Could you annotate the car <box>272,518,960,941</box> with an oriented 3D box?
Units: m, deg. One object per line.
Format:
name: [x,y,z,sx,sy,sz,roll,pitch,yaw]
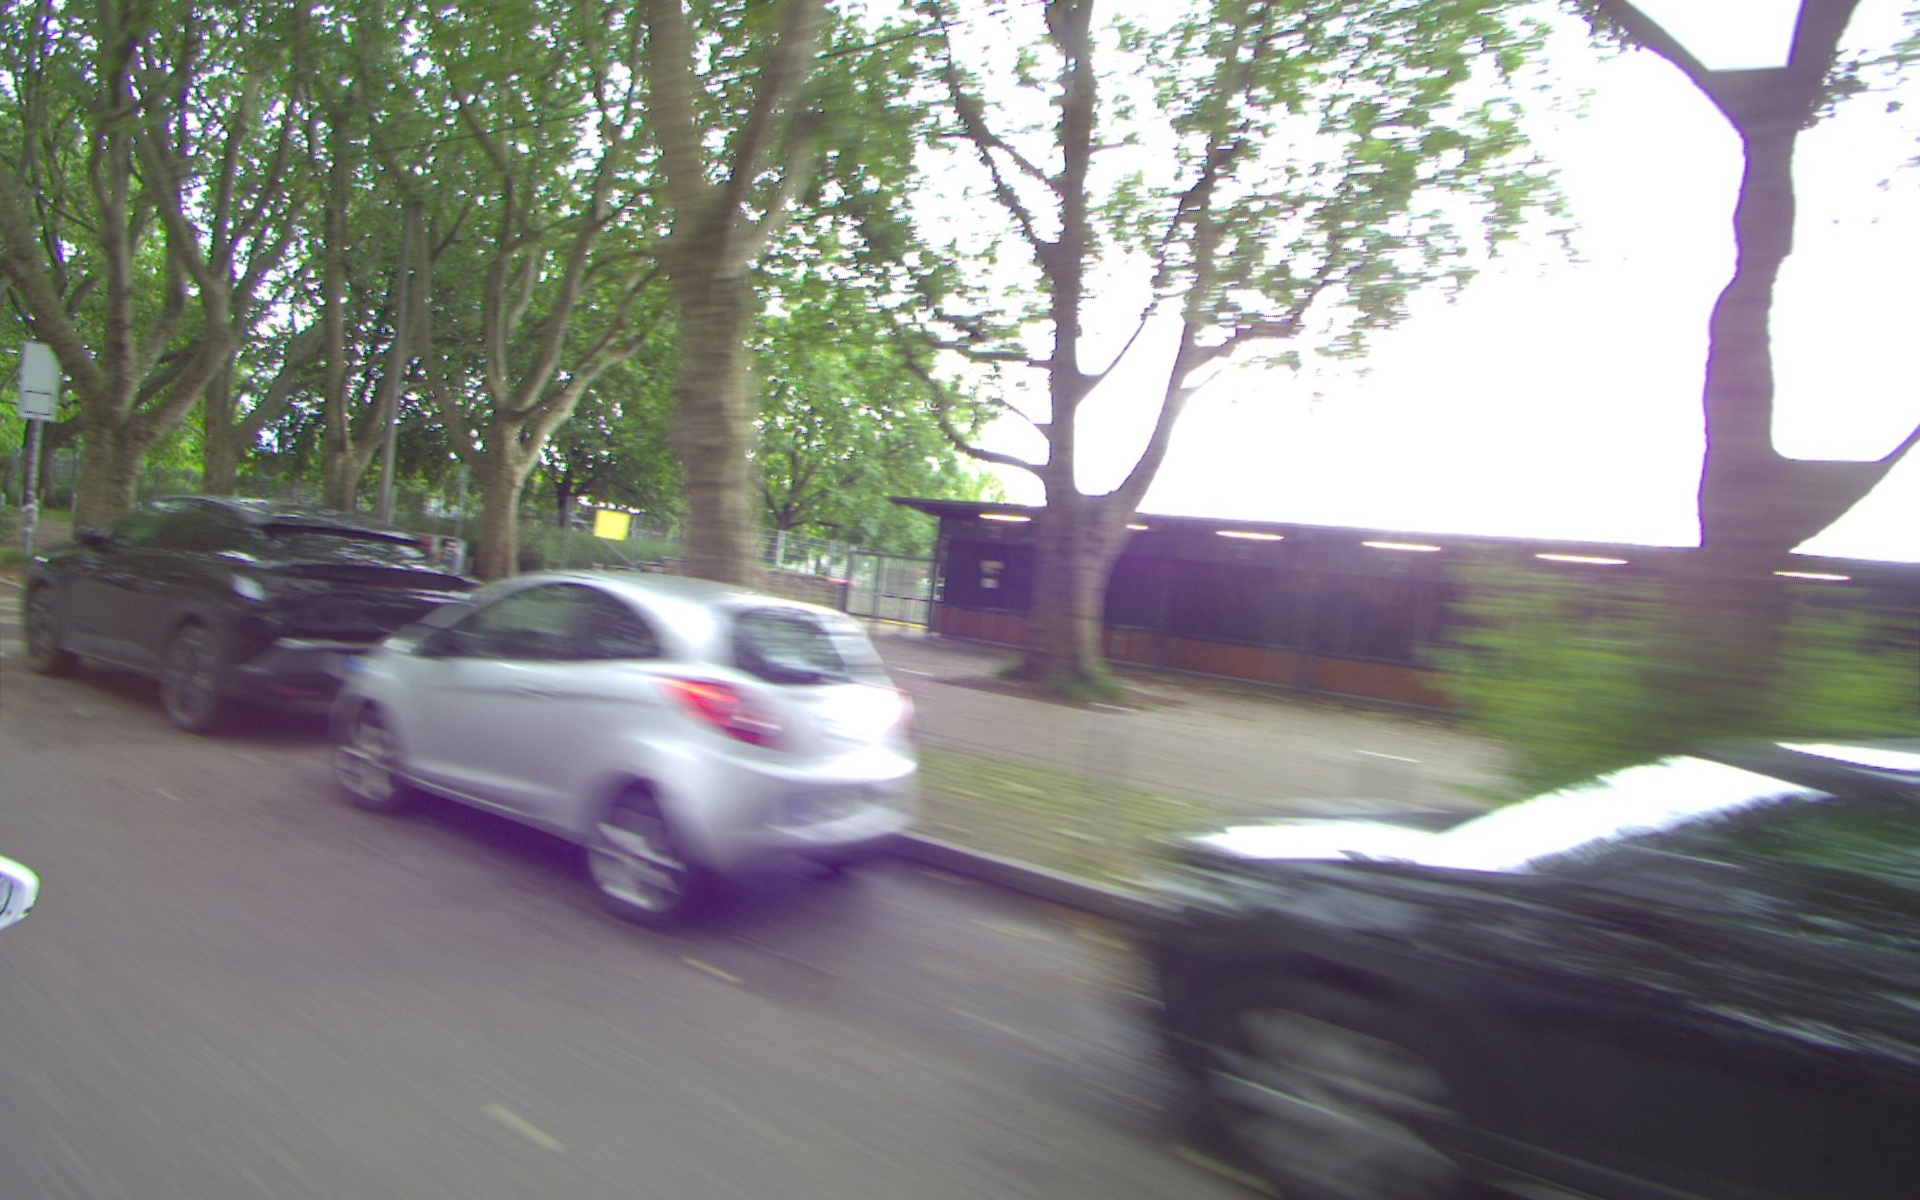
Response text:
car: [-2.041,0.512,5.662,3.649,1.458,1.619,7,-1,33]

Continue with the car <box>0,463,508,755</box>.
car: [-6.012,-0.045,8.294,4.560,1.694,1.779,7,1,31]

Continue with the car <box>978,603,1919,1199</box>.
car: [2.382,1.074,2.814,4.282,1.527,1.671,7,-1,32]
